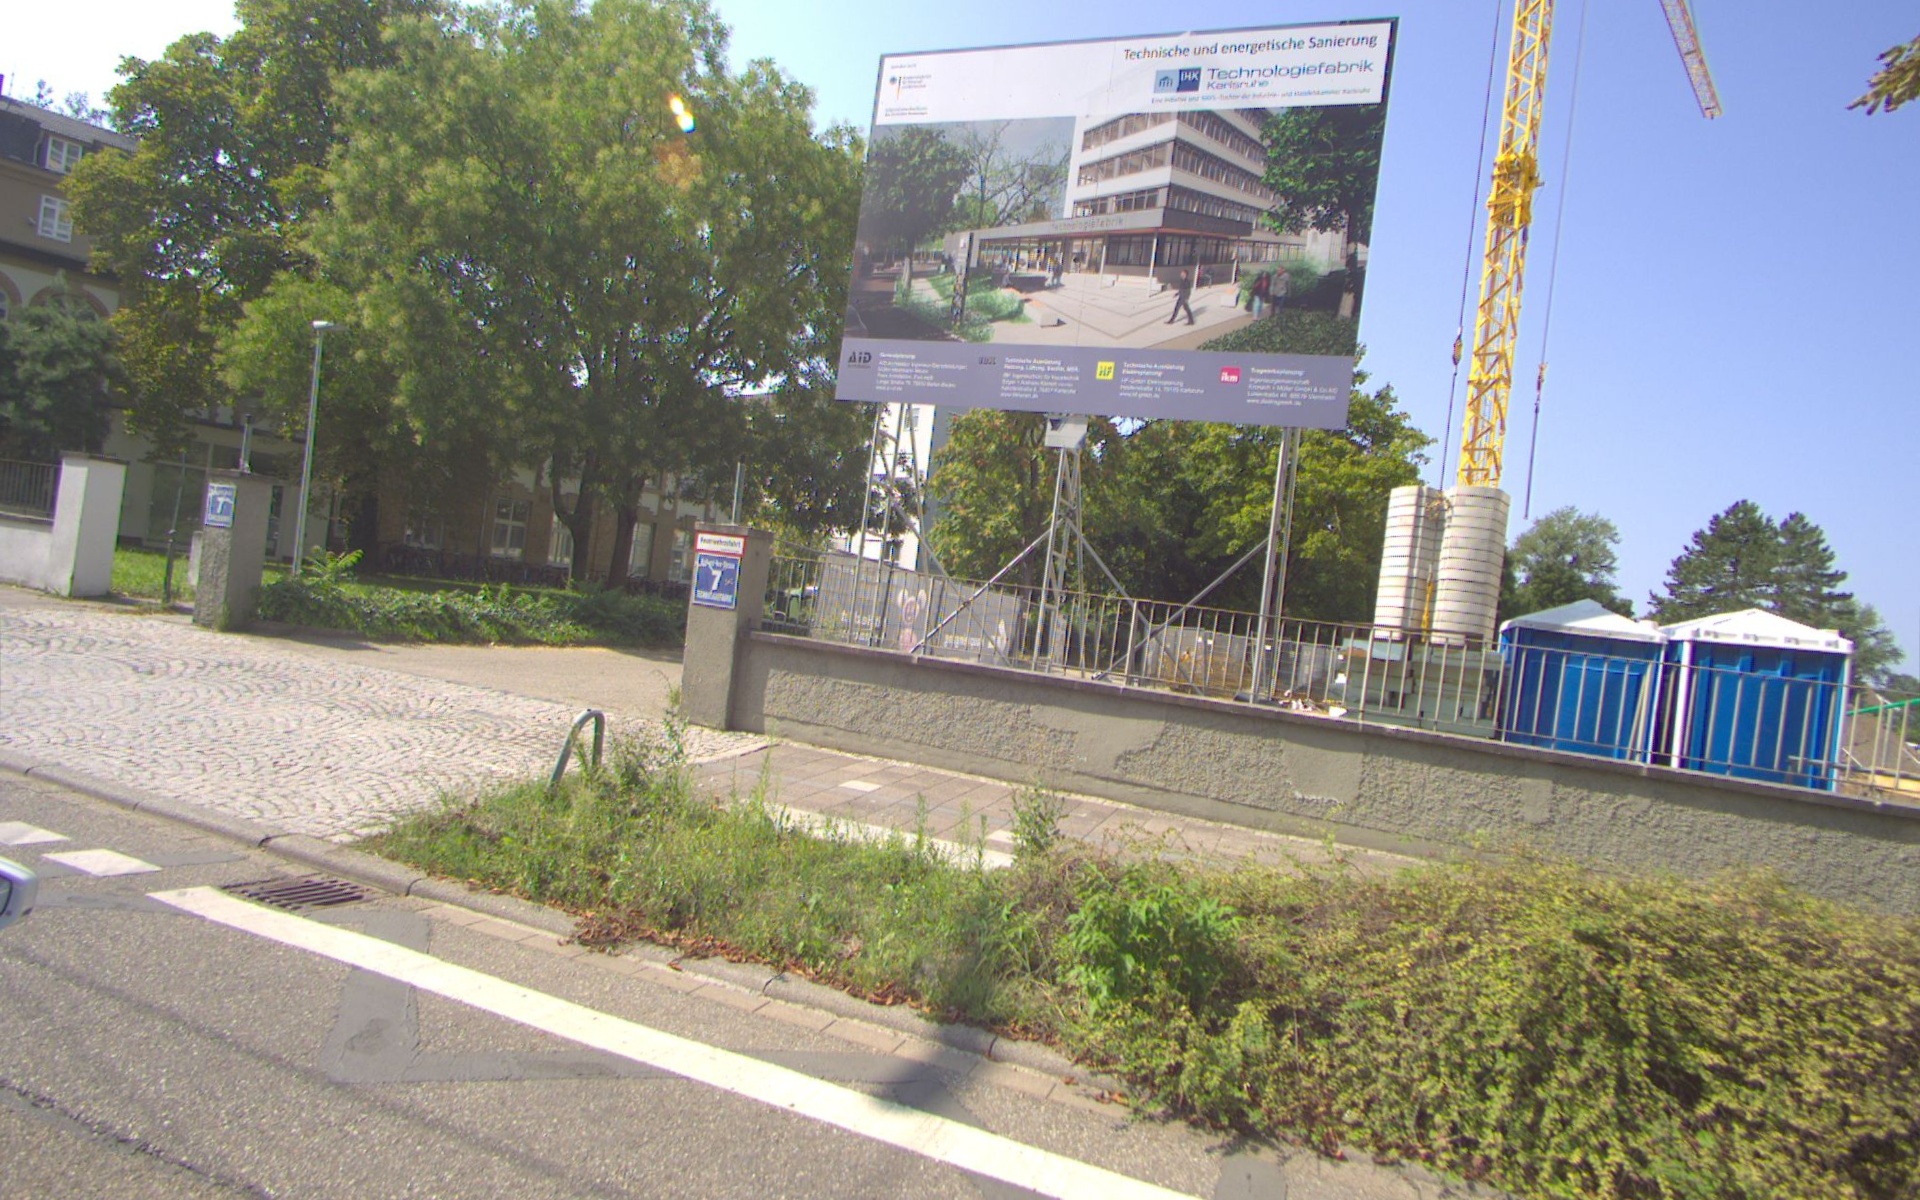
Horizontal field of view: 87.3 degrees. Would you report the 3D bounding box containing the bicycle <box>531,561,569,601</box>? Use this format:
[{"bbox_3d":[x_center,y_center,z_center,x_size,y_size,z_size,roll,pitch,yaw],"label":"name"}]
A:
[{"bbox_3d":[-15.172,-0.727,37.211,0.604,1.318,2.151,7,-1,-38],"label":"bicycle"}]

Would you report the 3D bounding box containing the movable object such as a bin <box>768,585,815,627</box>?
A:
[{"bbox_3d":[-6.818,0.261,40.791,1.190,1.462,1.244,8,0,42],"label":"movable object such as a bin"}]

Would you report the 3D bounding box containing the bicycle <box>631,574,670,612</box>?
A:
[{"bbox_3d":[-12.223,-0.280,39.684,0.604,1.318,2.151,7,-1,-38],"label":"bicycle"}]

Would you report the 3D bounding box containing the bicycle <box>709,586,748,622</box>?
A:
[{"bbox_3d":[-9.705,0.145,42.060,0.604,1.318,2.151,7,-1,-38],"label":"bicycle"}]

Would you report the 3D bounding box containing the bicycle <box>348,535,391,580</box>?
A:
[{"bbox_3d":[-19.320,-1.410,32.900,0.766,1.318,2.500,8,-1,-38],"label":"bicycle"}]

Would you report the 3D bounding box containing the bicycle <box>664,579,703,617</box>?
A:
[{"bbox_3d":[-11.171,-0.093,40.646,0.604,1.318,2.151,7,-1,-38],"label":"bicycle"}]

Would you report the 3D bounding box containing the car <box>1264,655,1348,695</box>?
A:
[{"bbox_3d":[20.370,4.402,59.344,1.986,1.632,4.113,8,0,-40],"label":"car"}]

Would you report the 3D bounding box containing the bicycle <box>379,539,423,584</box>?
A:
[{"bbox_3d":[-18.568,-1.288,33.361,0.766,1.318,2.500,8,-1,-38],"label":"bicycle"}]

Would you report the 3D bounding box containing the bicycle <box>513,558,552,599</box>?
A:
[{"bbox_3d":[-15.644,-0.804,36.758,0.622,1.318,2.249,8,-1,-38],"label":"bicycle"}]

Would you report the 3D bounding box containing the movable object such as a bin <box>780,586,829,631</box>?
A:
[{"bbox_3d":[-6.054,0.327,39.183,1.190,1.513,1.244,8,0,42],"label":"movable object such as a bin"}]

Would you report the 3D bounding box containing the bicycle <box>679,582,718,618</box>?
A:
[{"bbox_3d":[-10.724,-0.017,41.167,0.604,1.318,2.151,7,-1,-38],"label":"bicycle"}]

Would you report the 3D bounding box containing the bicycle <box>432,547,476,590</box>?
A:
[{"bbox_3d":[-17.460,-1.109,34.671,0.766,1.318,2.500,8,-1,-38],"label":"bicycle"}]

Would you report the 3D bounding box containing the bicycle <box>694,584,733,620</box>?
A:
[{"bbox_3d":[-10.217,0.063,41.620,0.604,1.318,2.151,7,-1,-38],"label":"bicycle"}]

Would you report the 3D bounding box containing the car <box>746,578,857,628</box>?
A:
[{"bbox_3d":[-8.264,0.171,52.589,5.048,1.903,2.475,9,-1,-40],"label":"car"}]

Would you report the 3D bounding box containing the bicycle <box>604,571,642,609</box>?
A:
[{"bbox_3d":[-13.075,-0.395,39.000,0.604,1.318,2.151,7,-1,-38],"label":"bicycle"}]

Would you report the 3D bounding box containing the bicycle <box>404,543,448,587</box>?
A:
[{"bbox_3d":[-18.061,-1.209,33.996,0.766,1.318,2.500,8,-1,-38],"label":"bicycle"}]

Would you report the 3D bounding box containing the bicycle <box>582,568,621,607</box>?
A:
[{"bbox_3d":[-13.699,-0.496,38.408,0.604,1.318,2.151,7,-1,-38],"label":"bicycle"}]

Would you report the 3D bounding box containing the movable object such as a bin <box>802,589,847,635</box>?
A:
[{"bbox_3d":[-5.105,0.453,37.905,1.086,1.499,1.096,8,0,42],"label":"movable object such as a bin"}]

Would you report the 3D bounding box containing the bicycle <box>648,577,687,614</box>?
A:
[{"bbox_3d":[-11.745,-0.200,40.287,0.604,1.318,2.151,7,-1,-38],"label":"bicycle"}]

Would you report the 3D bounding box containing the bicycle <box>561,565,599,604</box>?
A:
[{"bbox_3d":[-14.387,-0.597,38.052,0.604,1.318,2.151,7,-1,-38],"label":"bicycle"}]

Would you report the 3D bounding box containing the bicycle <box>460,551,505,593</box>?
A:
[{"bbox_3d":[-16.887,-1.005,35.563,0.766,1.318,2.500,8,-1,-38],"label":"bicycle"}]

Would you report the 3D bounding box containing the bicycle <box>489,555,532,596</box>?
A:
[{"bbox_3d":[-16.180,-0.892,36.201,0.766,1.318,2.249,8,-1,-38],"label":"bicycle"}]
